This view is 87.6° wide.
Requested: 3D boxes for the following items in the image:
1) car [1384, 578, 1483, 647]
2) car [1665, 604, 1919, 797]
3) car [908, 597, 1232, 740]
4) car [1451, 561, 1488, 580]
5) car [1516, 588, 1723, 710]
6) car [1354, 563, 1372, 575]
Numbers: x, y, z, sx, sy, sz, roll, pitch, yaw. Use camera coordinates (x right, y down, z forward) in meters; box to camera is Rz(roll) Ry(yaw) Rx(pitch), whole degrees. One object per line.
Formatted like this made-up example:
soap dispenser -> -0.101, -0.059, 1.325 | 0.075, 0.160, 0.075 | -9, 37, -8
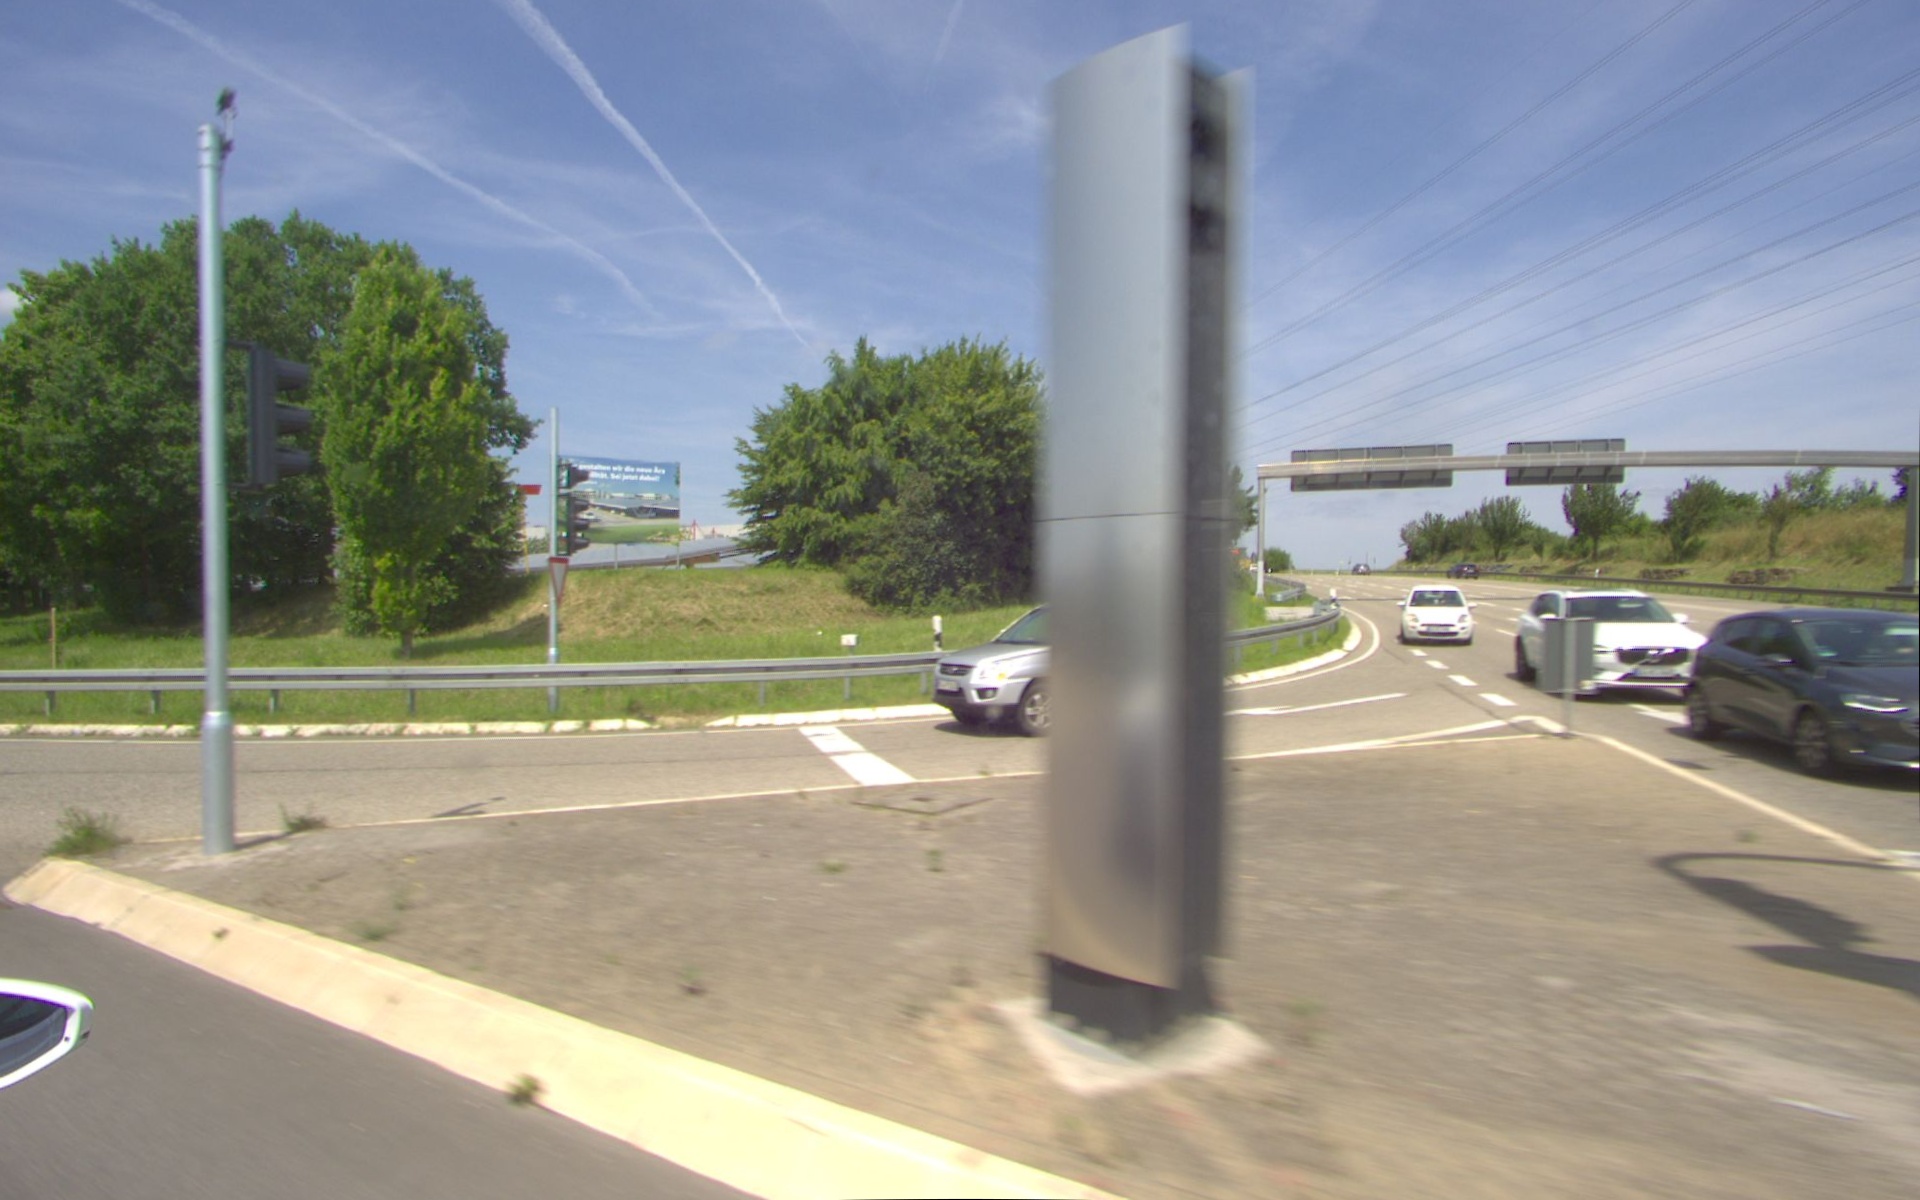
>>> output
car -> 12.709, 0.282, 27.088 | 1.749, 1.622, 3.992 | -1, 2, 16
car -> 8.616, 0.821, 9.731 | 1.685, 1.530, 3.995 | -1, -1, 17
car -> 1.599, 0.836, 13.926 | 4.314, 1.677, 1.825 | -1, 0, -33
car -> 46.714, -2.722, 91.914 | 1.718, 1.554, 4.292 | 2, 3, 10
car -> 10.481, 0.674, 16.293 | 1.748, 1.614, 4.362 | -1, 2, 19
car -> 54.981, -4.240, 136.561 | 1.719, 1.554, 4.289 | 1, 4, 15
